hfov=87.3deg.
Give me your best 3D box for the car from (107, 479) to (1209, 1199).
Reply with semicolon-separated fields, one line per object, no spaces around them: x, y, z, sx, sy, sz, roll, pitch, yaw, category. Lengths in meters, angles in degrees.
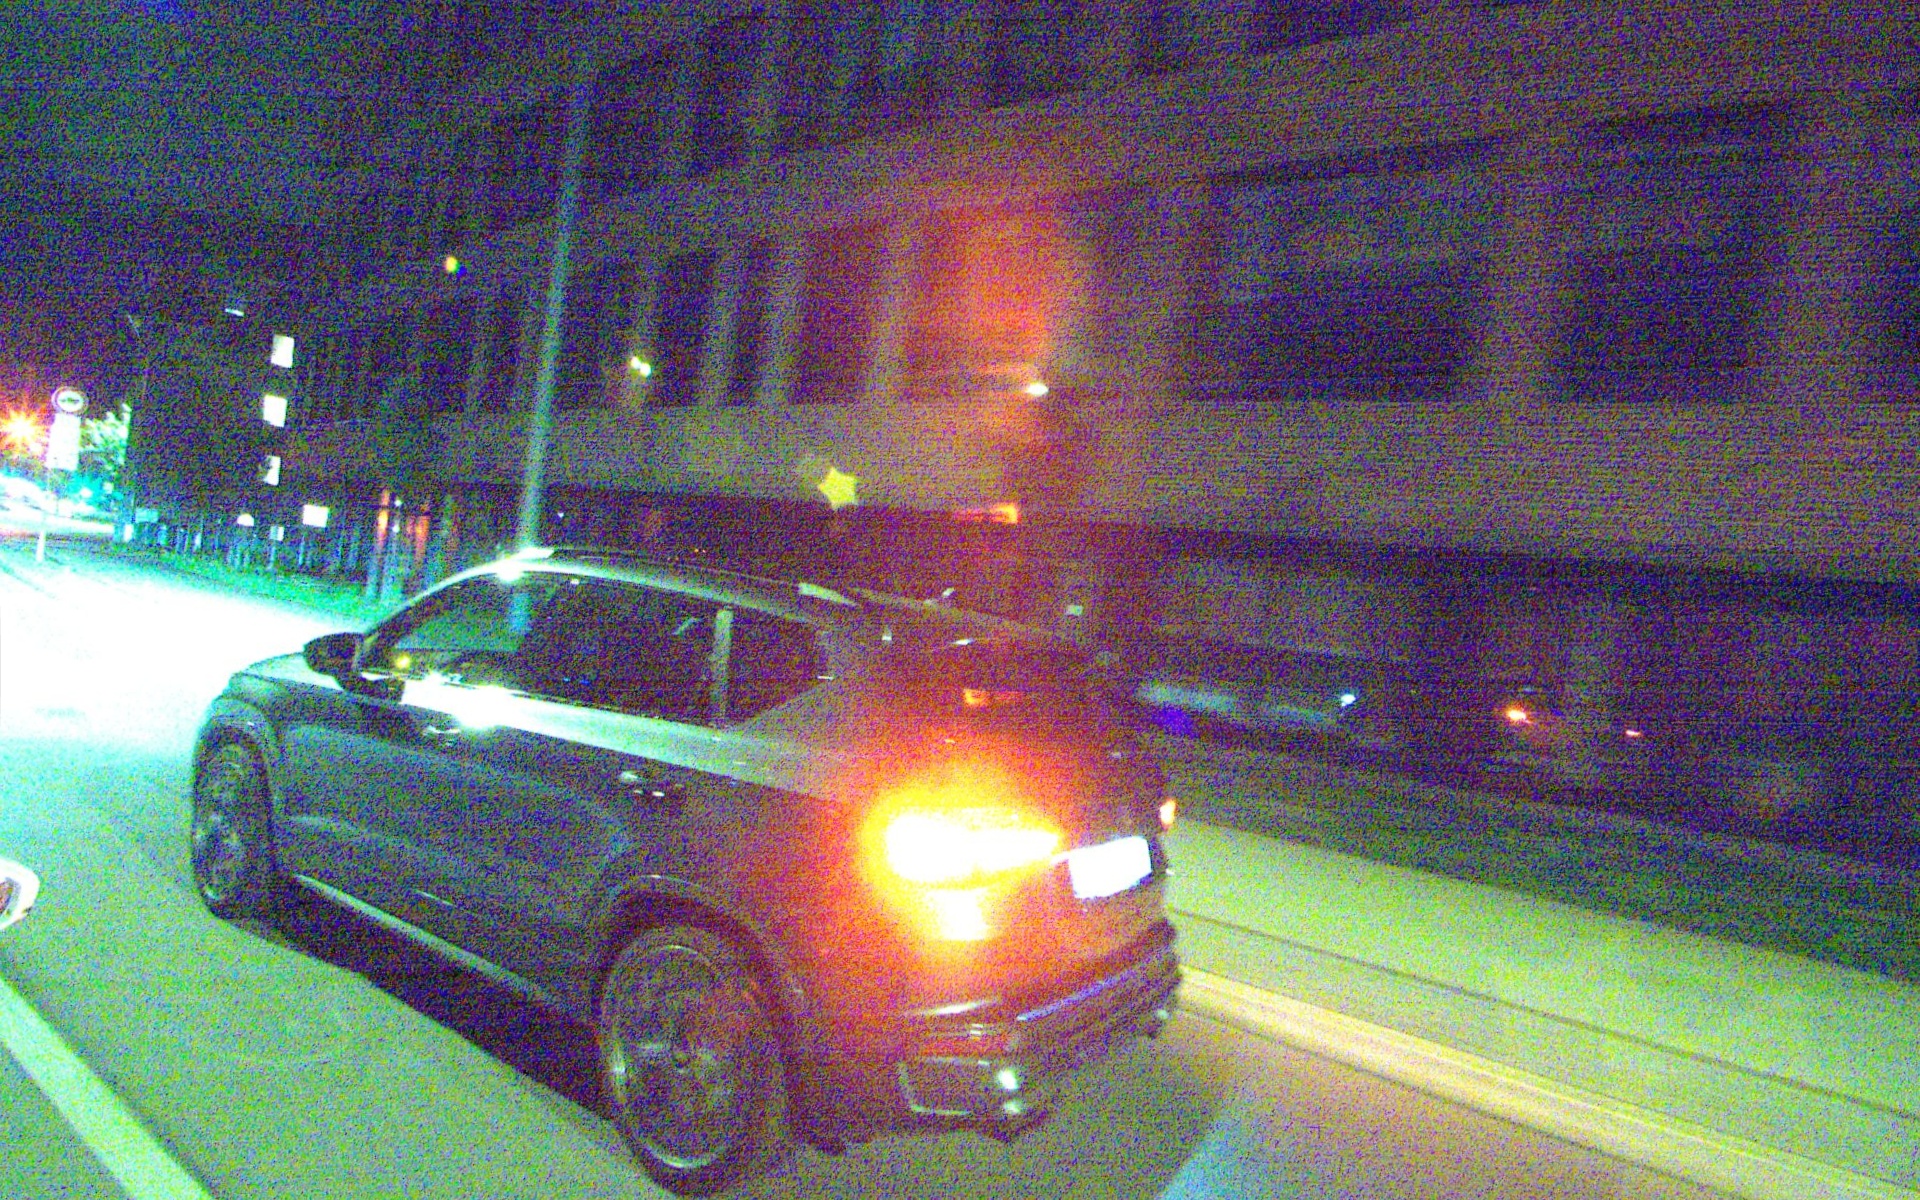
-1.398;0.564;3.948;4.160;1.628;1.673;6;-2;32;car
